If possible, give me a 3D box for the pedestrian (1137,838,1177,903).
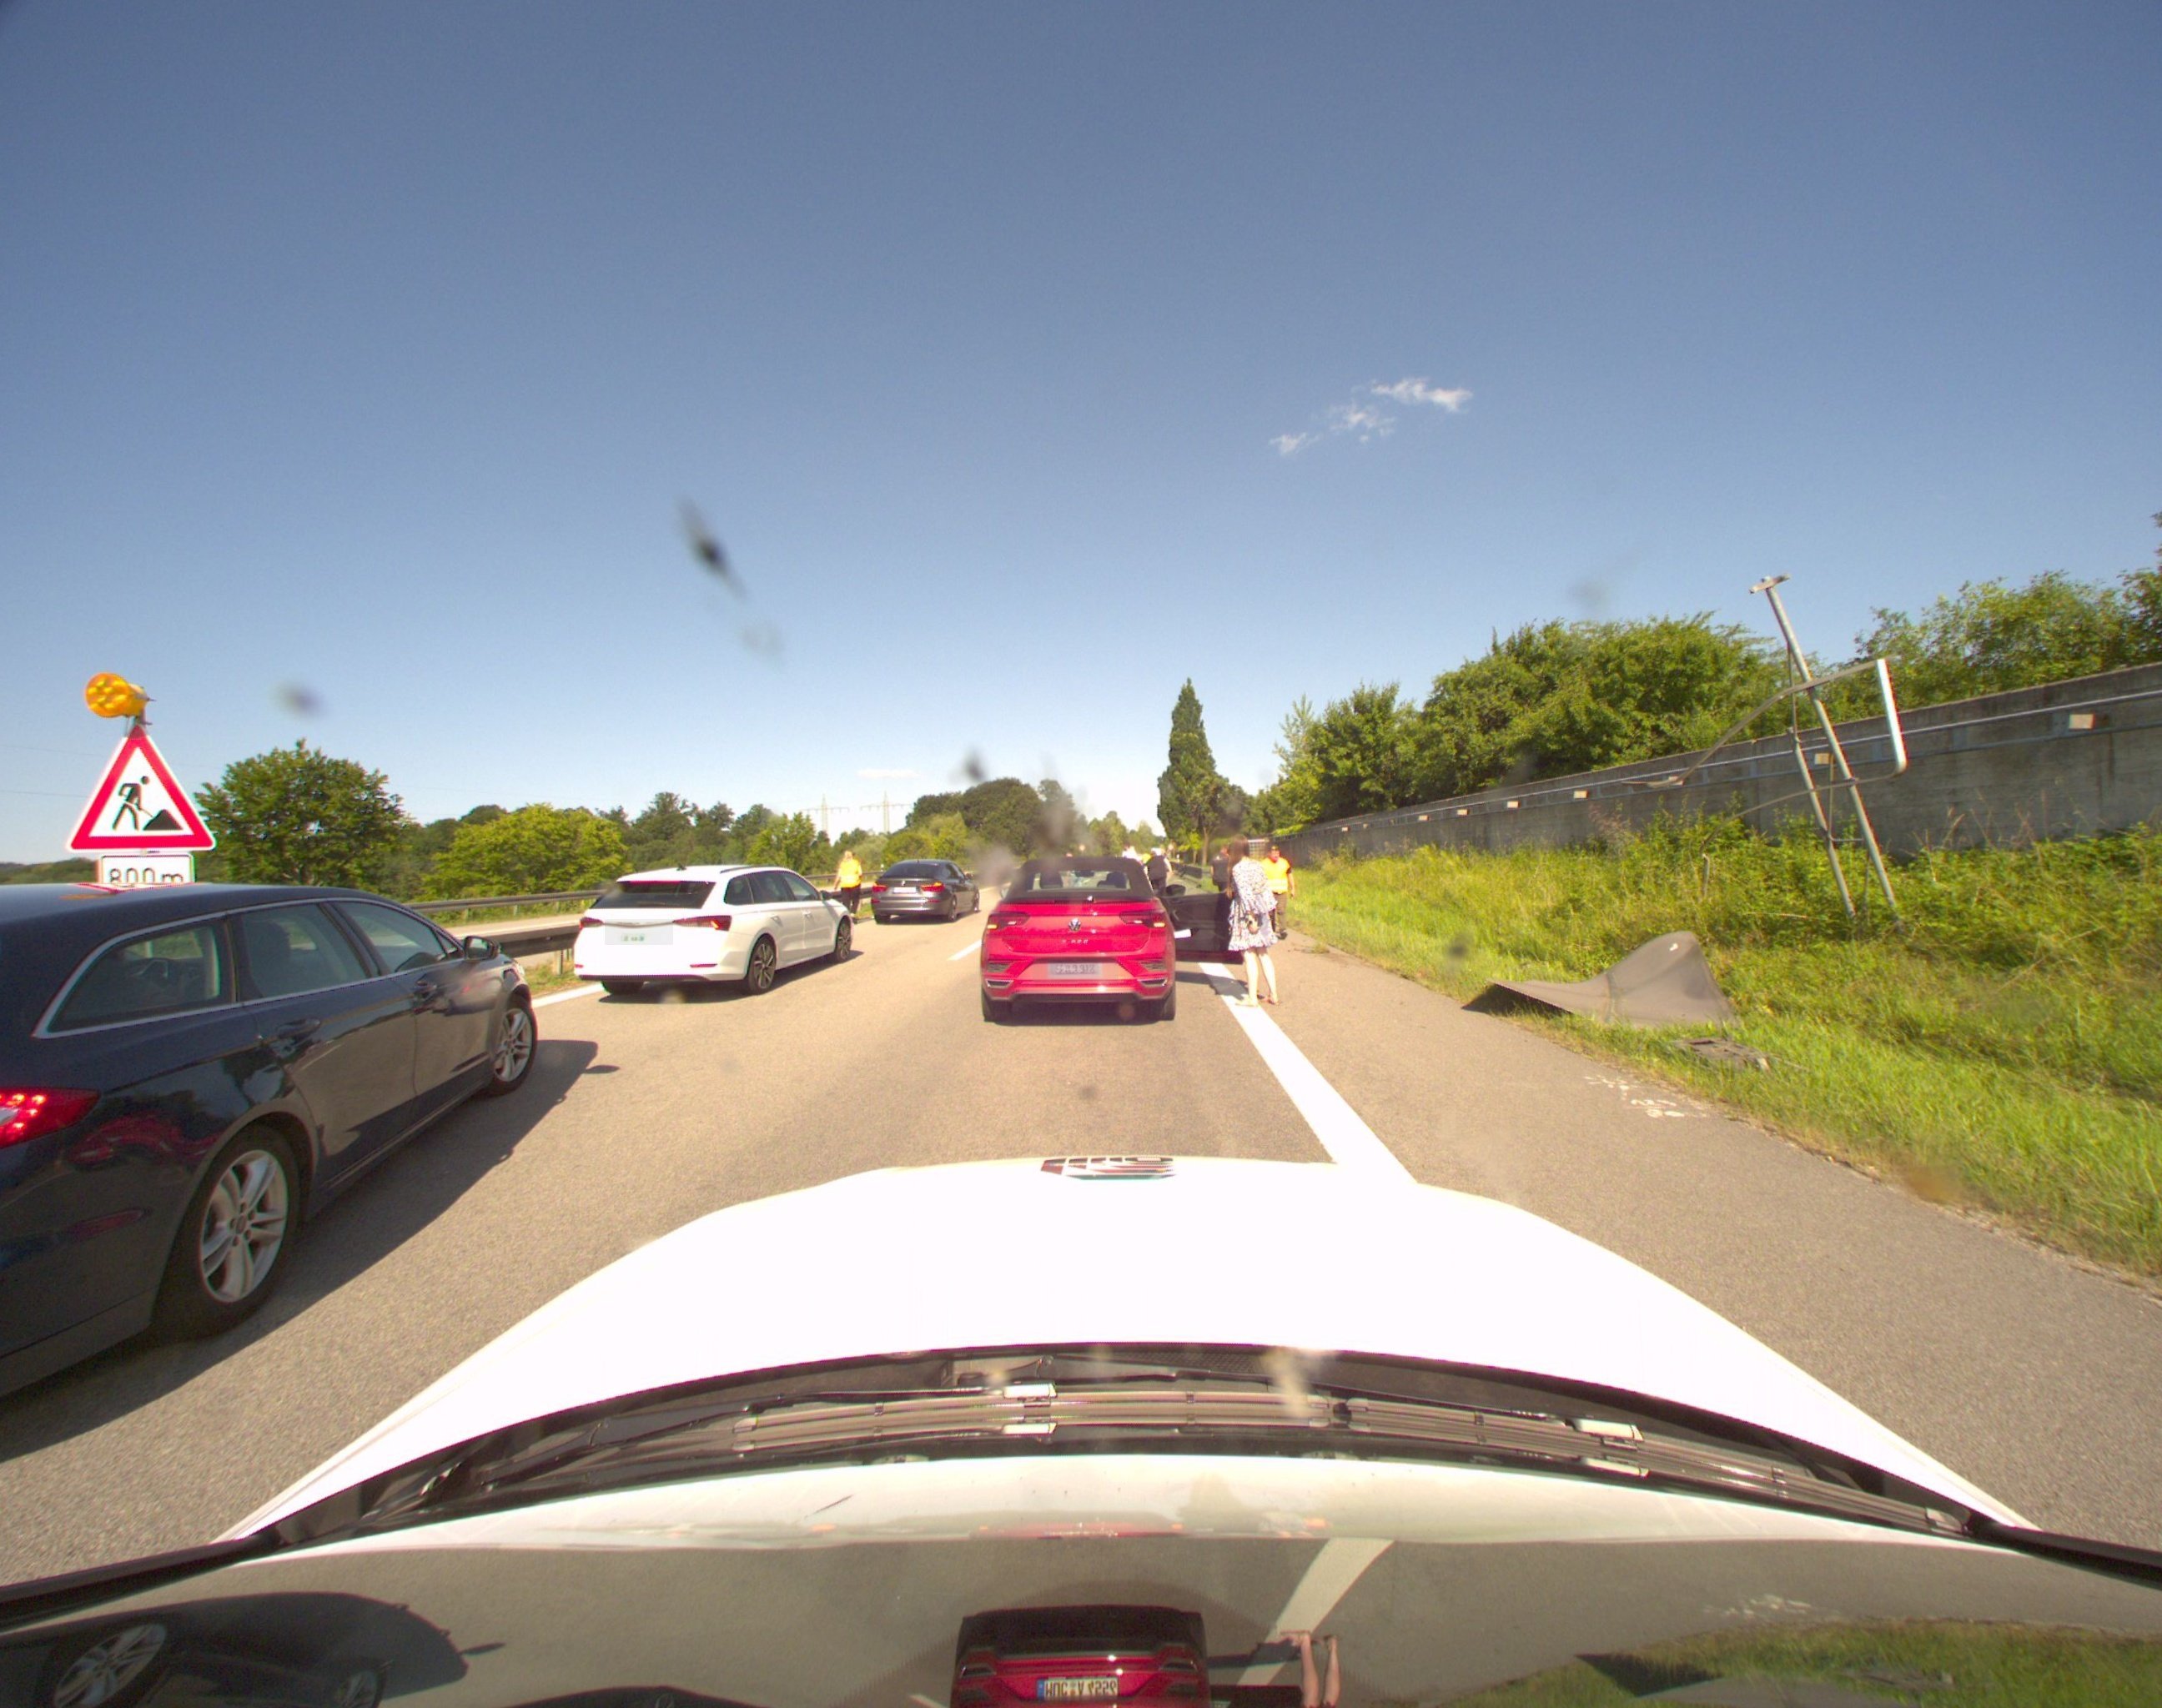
[{"bbox_3d":[2.275,0.478,24.462,1.086,1.883,1.069,-2,0,1],"label":"pedestrian"}]

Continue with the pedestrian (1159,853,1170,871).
[{"bbox_3d":[7.839,0.718,76.615,0.991,1.689,1.012,0,-1,6],"label":"pedestrian"}]

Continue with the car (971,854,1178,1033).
[{"bbox_3d":[0.042,0.756,8.960,1.725,1.487,4.213,-1,0,3],"label":"car"}]

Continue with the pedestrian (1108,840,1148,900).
[{"bbox_3d":[1.558,0.514,27.239,1.104,1.912,1.255,-2,0,-5],"label":"pedestrian"}]

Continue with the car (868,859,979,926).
[{"bbox_3d":[-3.727,0.856,20.078,1.688,1.426,4.337,-1,0,3],"label":"car"}]

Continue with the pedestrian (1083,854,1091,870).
[{"bbox_3d":[0.673,0.893,90.957,0.787,1.689,0.794,0,-1,7],"label":"pedestrian"}]

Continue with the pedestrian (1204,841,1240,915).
[{"bbox_3d":[3.425,0.569,19.790,0.806,1.759,0.831,0,-1,12],"label":"pedestrian"}]

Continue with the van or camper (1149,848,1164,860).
[{"bbox_3d":[14.840,0.061,160.800,1.977,2.316,4.491,-1,-1,18],"label":"van or camper"}]

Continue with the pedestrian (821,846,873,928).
[{"bbox_3d":[-5.323,0.733,18.474,1.044,1.763,1.111,-2,0,-19],"label":"pedestrian"}]

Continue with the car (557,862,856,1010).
[{"bbox_3d":[-4.352,0.843,10.294,1.688,1.441,4.212,-1,0,2],"label":"car"}]

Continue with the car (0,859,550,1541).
[{"bbox_3d":[-3.942,0.824,3.462,1.794,1.493,4.462,-2,0,-20],"label":"car"}]

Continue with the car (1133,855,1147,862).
[{"bbox_3d":[11.778,0.900,161.985,1.718,1.487,4.231,-1,0,19],"label":"car"}]

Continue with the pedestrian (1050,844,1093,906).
[{"bbox_3d":[-0.263,0.614,24.033,1.098,1.789,1.093,0,-1,7],"label":"pedestrian"}]

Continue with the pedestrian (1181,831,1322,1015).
[{"bbox_3d":[1.697,0.642,8.271,0.893,1.695,1.121,-2,0,-20],"label":"pedestrian"}]

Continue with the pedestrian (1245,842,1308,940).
[{"bbox_3d":[3.513,0.642,14.747,0.952,1.653,1.281,-2,0,9],"label":"pedestrian"}]

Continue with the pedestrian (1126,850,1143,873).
[{"bbox_3d":[3.916,0.559,59.448,1.110,1.689,0.972,0,-1,-2],"label":"pedestrian"}]

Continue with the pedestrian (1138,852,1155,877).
[{"bbox_3d":[4.406,0.713,55.101,1.049,1.689,1.020,-1,-1,9],"label":"pedestrian"}]

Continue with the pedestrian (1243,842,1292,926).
[{"bbox_3d":[3.921,0.626,17.154,0.891,1.725,0.755,0,-1,4],"label":"pedestrian"}]
